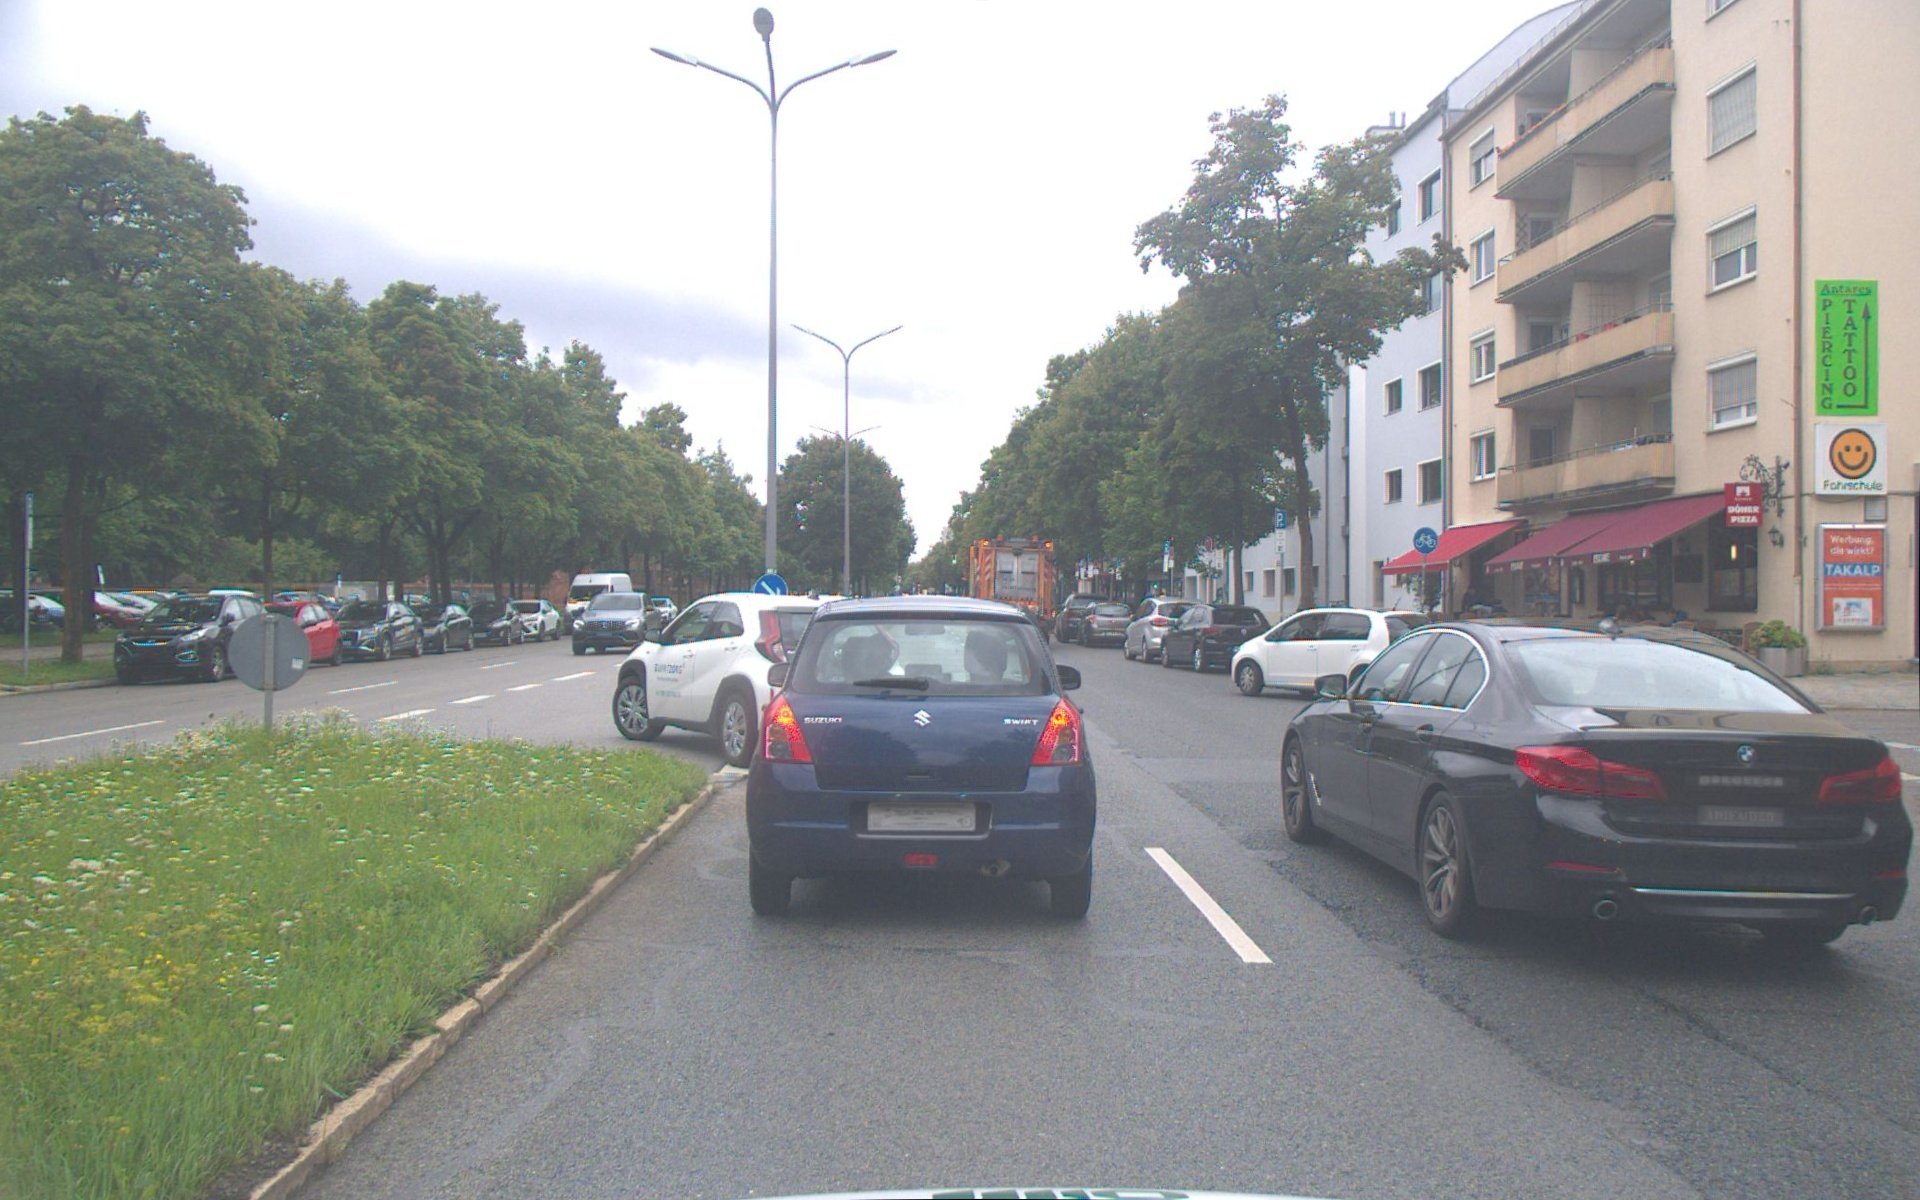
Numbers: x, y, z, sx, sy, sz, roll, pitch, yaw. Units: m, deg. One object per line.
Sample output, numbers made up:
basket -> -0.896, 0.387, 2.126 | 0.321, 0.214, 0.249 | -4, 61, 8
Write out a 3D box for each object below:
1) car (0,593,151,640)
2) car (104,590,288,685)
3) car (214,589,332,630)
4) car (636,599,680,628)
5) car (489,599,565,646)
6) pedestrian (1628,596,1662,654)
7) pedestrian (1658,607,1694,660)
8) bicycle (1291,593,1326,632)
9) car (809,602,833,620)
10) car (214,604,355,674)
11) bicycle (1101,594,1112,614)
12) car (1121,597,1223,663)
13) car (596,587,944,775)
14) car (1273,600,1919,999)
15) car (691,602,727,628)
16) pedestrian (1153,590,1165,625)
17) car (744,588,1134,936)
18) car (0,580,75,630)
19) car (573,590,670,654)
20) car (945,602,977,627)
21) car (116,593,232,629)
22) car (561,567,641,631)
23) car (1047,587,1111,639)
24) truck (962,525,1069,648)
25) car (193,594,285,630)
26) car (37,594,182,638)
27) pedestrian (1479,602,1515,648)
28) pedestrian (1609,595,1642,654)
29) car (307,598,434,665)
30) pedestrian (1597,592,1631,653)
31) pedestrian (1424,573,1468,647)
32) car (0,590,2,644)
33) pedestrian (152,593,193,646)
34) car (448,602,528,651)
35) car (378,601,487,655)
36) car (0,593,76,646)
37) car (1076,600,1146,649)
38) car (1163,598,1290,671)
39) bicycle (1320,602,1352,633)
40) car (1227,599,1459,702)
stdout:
car -> -28.328, 0.516, 52.947 | 3.911, 1.467, 1.997 | 0, 0, -7
car -> -14.905, 0.725, 32.515 | 1.785, 1.729, 4.237 | 0, -1, -3
car -> -27.378, 0.382, 65.984 | 3.905, 1.598, 1.814 | 0, 0, 0
car -> -16.265, 0.734, 89.236 | 1.820, 1.517, 4.139 | 0, -1, -3
car -> -15.581, 0.819, 59.722 | 1.785, 1.554, 4.296 | -2, -1, -3
pedestrian -> 14.602, 0.533, 35.269 | 0.527, 1.235, 0.487 | 0, 0, -2
pedestrian -> 14.591, 0.674, 33.707 | 0.527, 1.072, 0.487 | 0, 0, -2
bicycle -> 13.371, 0.457, 63.579 | 0.688, 1.432, 2.592 | -2, 0, -1
car -> -11.817, 0.944, 140.759 | 1.779, 1.473, 4.780 | -1, 0, -2
car -> -15.332, 0.883, 37.730 | 1.785, 1.505, 3.807 | 0, -1, -3
bicycle -> 10.681, 0.278, 120.511 | 0.568, 1.489, 1.688 | 0, 0, -1
car -> 5.288, 0.713, 41.784 | 1.793, 1.549, 4.521 | 0, 0, -3
car -> -1.930, 0.672, 15.942 | 1.807, 1.580, 3.674 | 0, 0, -35
car -> 3.088, 0.788, 8.813 | 1.785, 1.503, 4.689 | 2, 0, -2
car -> -16.462, 0.972, 108.561 | 1.849, 1.564, 4.312 | -3, 0, -3
pedestrian -> 10.168, 0.357, 84.515 | 0.489, 1.763, 0.732 | -2, 0, -1
car -> -0.114, 0.712, 9.306 | 1.717, 1.531, 3.999 | 0, 0, -1
car -> -28.961, 0.149, 49.452 | 3.911, 1.467, 1.997 | 0, 0, -7
car -> -9.071, 0.545, 44.646 | 1.784, 1.617, 4.500 | 0, 1, -1
car -> 0.051, 0.888, 103.143 | 1.793, 1.549, 3.768 | 0, 0, -3
car -> -32.653, 0.465, 68.792 | 3.911, 1.467, 1.997 | 0, 0, -7
car -> -15.907, -0.072, 73.719 | 2.096, 2.690, 7.103 | -1, 0, -1
car -> 4.224, 0.452, 59.317 | 1.793, 1.776, 4.506 | 0, 0, -3
truck -> 1.640, -0.412, 55.866 | 2.979, 3.619, 13.672 | 0, 0, -1
car -> -41.745, 0.689, 95.799 | 4.415, 2.070, 1.999 | 0, 0, -2
car -> -29.076, 0.534, 56.645 | 3.911, 1.467, 1.997 | 0, 0, -7
pedestrian -> 14.014, 0.645, 43.177 | 0.728, 1.184, 0.646 | 0, 0, -2
pedestrian -> 14.586, 0.538, 36.255 | 0.527, 1.290, 0.486 | 0, 0, -3
car -> -15.104, 0.770, 42.600 | 1.784, 1.627, 4.112 | 0, 0, 0
pedestrian -> 14.736, 0.509, 37.277 | 0.527, 1.362, 0.552 | 0, 0, -3
pedestrian -> 13.083, 0.276, 44.526 | 0.854, 1.963, 0.757 | 0, 0, -18
car -> -28.134, 0.453, 44.181 | 3.911, 1.467, 1.997 | 0, 0, -7
pedestrian -> -22.885, 0.567, 48.097 | 0.778, 1.521, 0.856 | 0, 0, -1
car -> -15.400, 0.843, 54.095 | 1.786, 1.473, 3.995 | -1, 0, -6
car -> -15.275, 0.784, 48.094 | 1.784, 1.434, 4.000 | -2, 0, 1
car -> -27.795, 0.544, 47.201 | 4.053, 1.467, 1.998 | 0, 0, -4
car -> 4.926, 0.779, 54.276 | 1.793, 1.549, 3.769 | 0, 0, -3
car -> 5.777, 0.722, 36.330 | 1.794, 1.499, 3.883 | 0, 0, -6
bicycle -> 13.507, 0.623, 59.442 | 0.609, 1.065, 2.195 | 0, 0, -1
car -> 6.071, 0.757, 26.474 | 1.673, 1.516, 3.391 | 0, 0, -36
